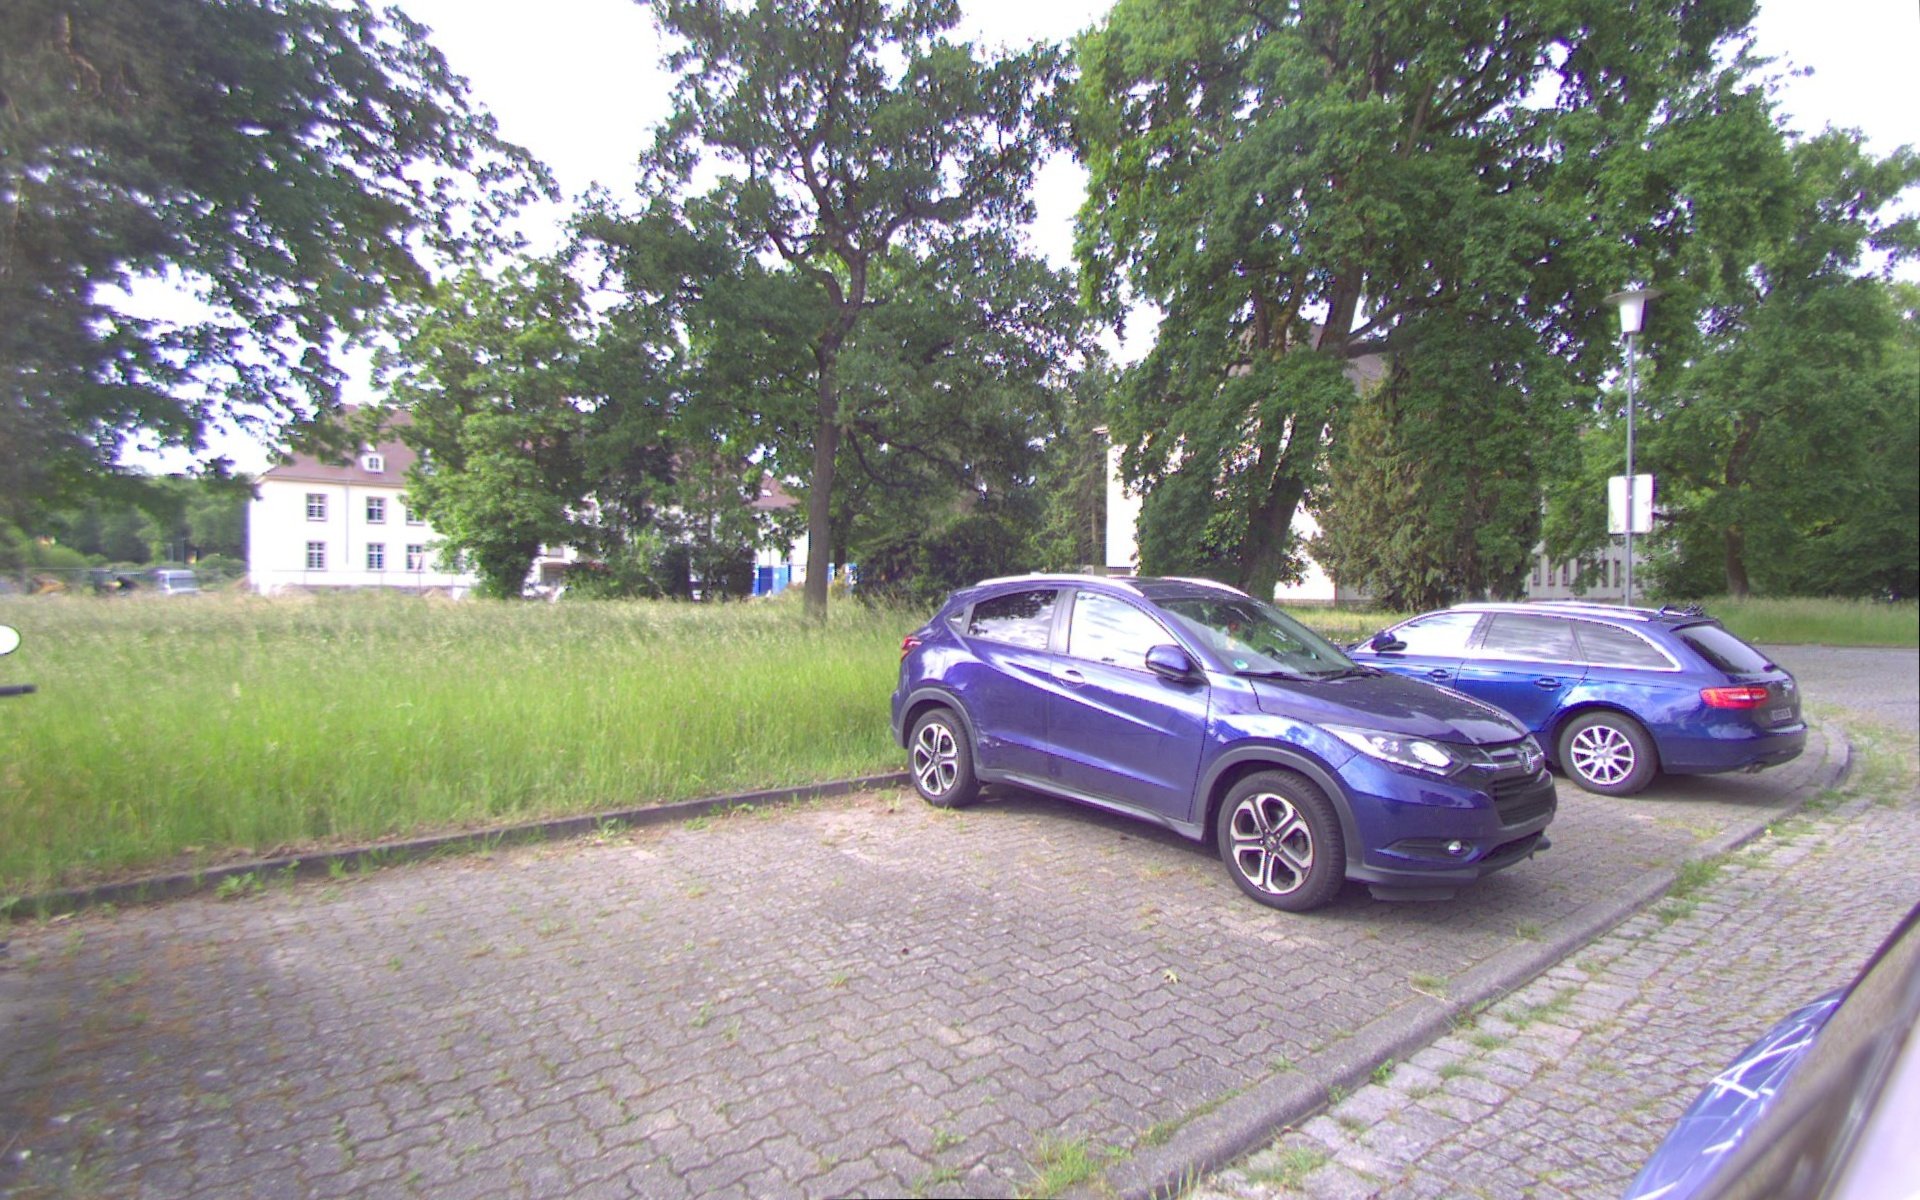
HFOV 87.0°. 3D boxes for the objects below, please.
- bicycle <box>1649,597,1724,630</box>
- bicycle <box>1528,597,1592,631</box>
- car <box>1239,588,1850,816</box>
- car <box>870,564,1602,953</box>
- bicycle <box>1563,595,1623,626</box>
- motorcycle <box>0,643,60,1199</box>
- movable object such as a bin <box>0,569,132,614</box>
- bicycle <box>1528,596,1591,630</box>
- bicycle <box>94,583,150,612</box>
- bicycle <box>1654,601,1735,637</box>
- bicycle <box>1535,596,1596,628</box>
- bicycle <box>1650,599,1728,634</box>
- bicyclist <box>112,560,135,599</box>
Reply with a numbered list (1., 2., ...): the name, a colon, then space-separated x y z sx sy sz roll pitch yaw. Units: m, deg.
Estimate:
1. bicycle: 24.909 0.452 34.752 2.010 1.090 0.616 0 0 27
2. bicycle: 20.540 0.457 34.696 1.840 1.137 0.616 0 0 27
3. car: 4.937 0.668 9.215 1.751 1.439 4.484 0 2 -37
4. car: 1.348 0.592 6.313 1.761 1.591 4.171 -1 2 -40
5. bicycle: 23.650 0.397 37.854 1.840 1.137 0.616 0 0 27
6. motorcycle: -3.190 0.815 2.985 0.782 1.200 2.330 0 2 -42
7. movable object such as a bin: -54.828 -0.543 62.053 5.852 2.688 2.180 0 0 -19
8. bicycle: 20.865 0.450 35.243 1.840 1.137 0.616 0 0 27
9. bicycle: -36.751 -0.101 44.397 1.899 1.244 0.724 -1 0 -42
10. bicycle: 22.866 0.577 31.543 1.951 1.090 0.583 0 0 23
11. bicycle: 21.870 0.432 36.585 1.840 1.137 0.616 0 0 27
12. bicycle: 23.712 0.525 32.955 1.951 1.090 0.583 0 0 23
13. bicyclist: -36.740 -0.892 44.459 0.759 1.717 0.726 0 0 -42
